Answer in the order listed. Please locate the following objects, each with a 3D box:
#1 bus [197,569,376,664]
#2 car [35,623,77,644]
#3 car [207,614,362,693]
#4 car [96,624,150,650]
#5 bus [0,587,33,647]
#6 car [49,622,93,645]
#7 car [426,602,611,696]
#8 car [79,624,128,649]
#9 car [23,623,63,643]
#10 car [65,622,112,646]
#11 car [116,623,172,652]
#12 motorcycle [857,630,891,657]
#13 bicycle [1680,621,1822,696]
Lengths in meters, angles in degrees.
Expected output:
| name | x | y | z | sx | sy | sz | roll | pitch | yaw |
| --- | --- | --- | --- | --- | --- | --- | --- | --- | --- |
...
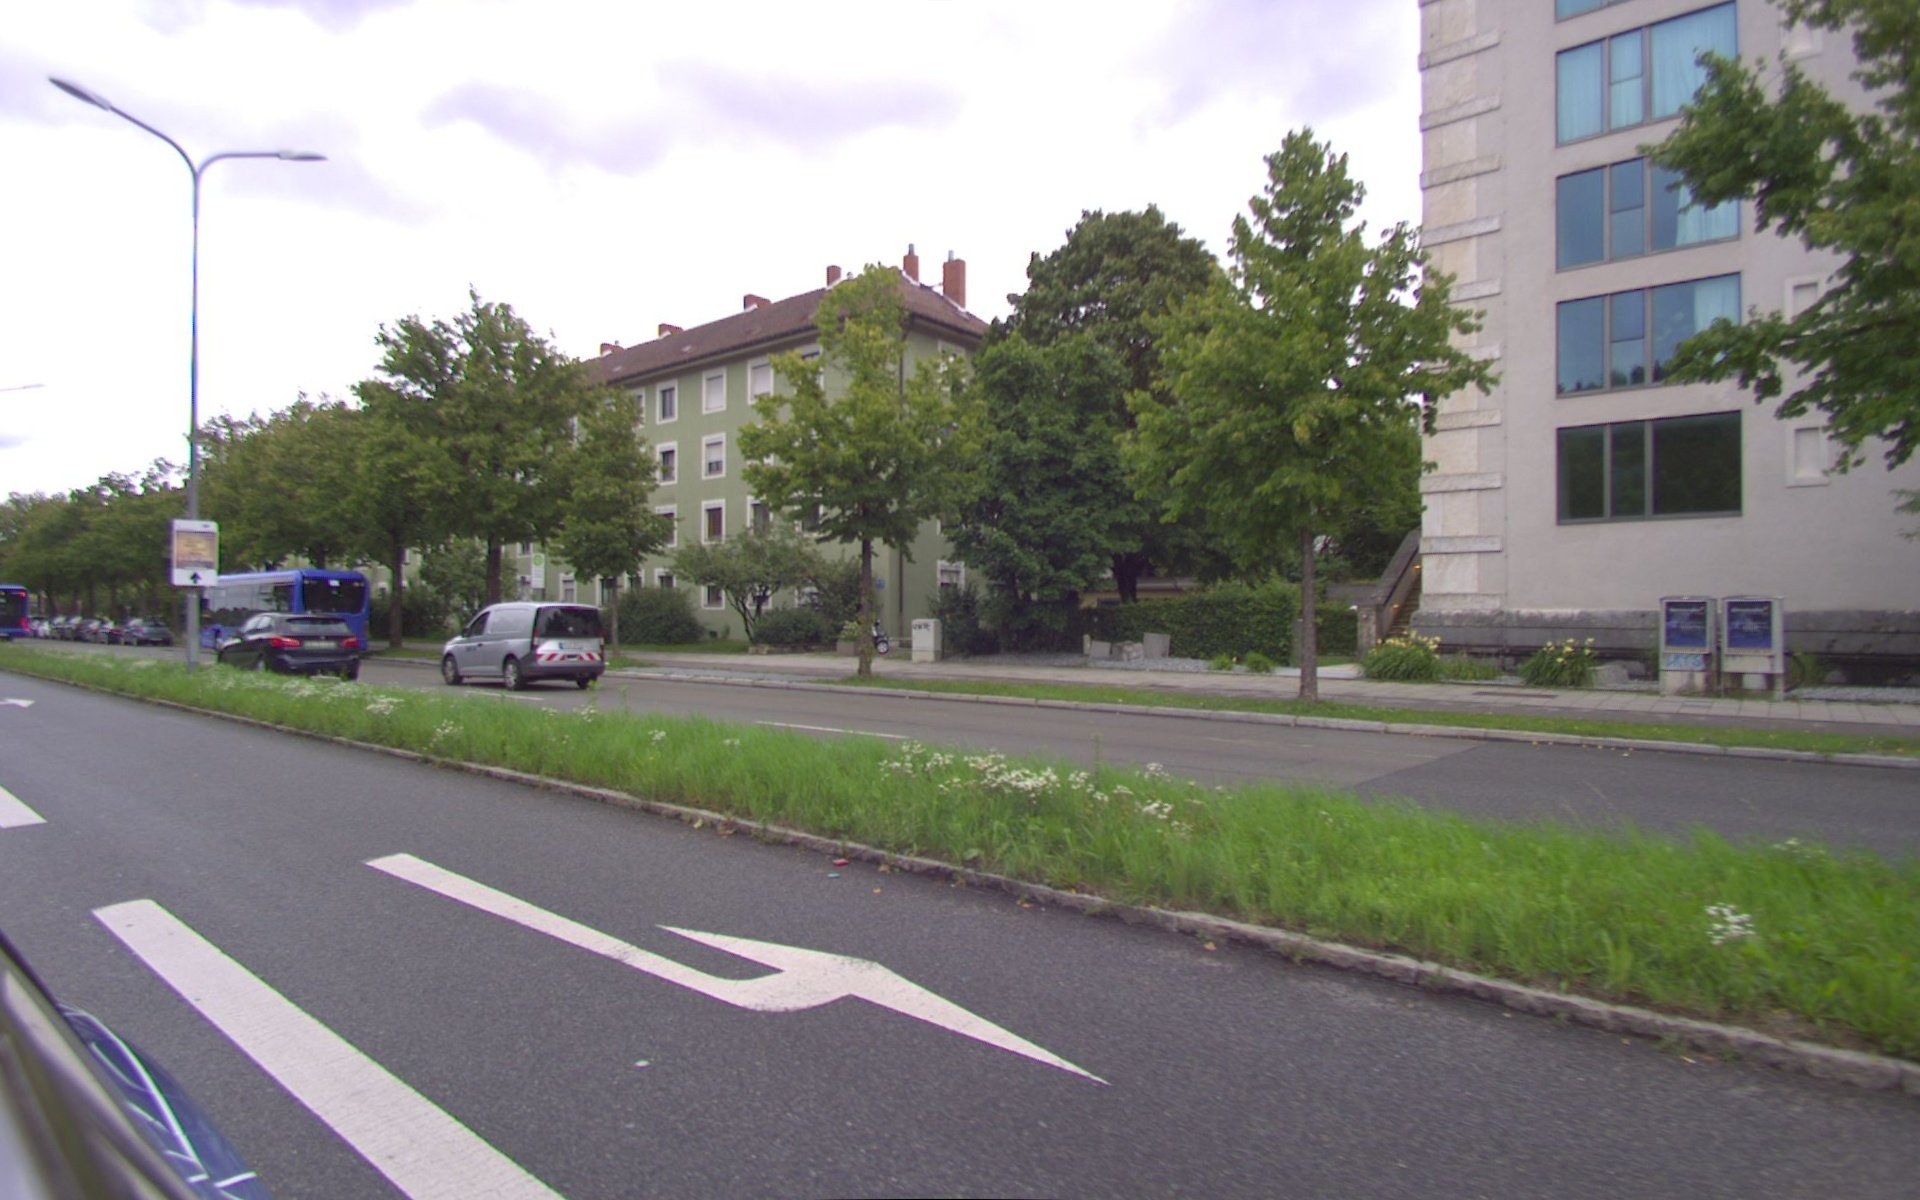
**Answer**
| name | x | y | z | sx | sy | sz | roll | pitch | yaw |
| --- | --- | --- | --- | --- | --- | --- | --- | --- | --- |
| bus | -27.520 | 0.710 | 40.981 | 12.039 | 3.369 | 2.717 | -1 | -3 | 40 |
| car | -66.542 | 2.432 | 74.488 | 3.908 | 1.473 | 1.833 | -1 | 0 | 41 |
| car | -14.953 | 1.117 | 22.326 | 4.287 | 1.582 | 1.681 | -1 | -1 | 39 |
| car | -49.668 | 2.166 | 60.036 | 3.908 | 1.473 | 1.833 | -1 | 0 | 41 |
| bus | -59.475 | 1.041 | 60.935 | 12.244 | 3.369 | 2.722 | -1 | -2 | 35 |
| car | -62.527 | 2.346 | 71.188 | 3.908 | 1.473 | 1.833 | -1 | 0 | 41 |
| car | -9.560 | 1.033 | 21.765 | 4.426 | 1.825 | 1.762 | -1 | -4 | 39 |
| car | -54.105 | 2.260 | 63.903 | 3.908 | 1.473 | 1.833 | -1 | 0 | 41 |
| car | -70.860 | 2.524 | 78.171 | 3.908 | 1.473 | 1.833 | -1 | 0 | 41 |
| car | -57.937 | 2.249 | 67.231 | 3.908 | 1.473 | 1.833 | -1 | 0 | 41 |
| car | -46.011 | 2.088 | 57.036 | 3.908 | 1.473 | 1.833 | -1 | 0 | 41 |
| motorcycle | -2.970 | 1.494 | 34.776 | 1.234 | 0.889 | 0.429 | -1 | -1 | 40 |
| bicycle | 13.187 | 0.949 | 16.916 | 1.825 | 1.190 | 0.539 | -1 | -1 | 41 |
